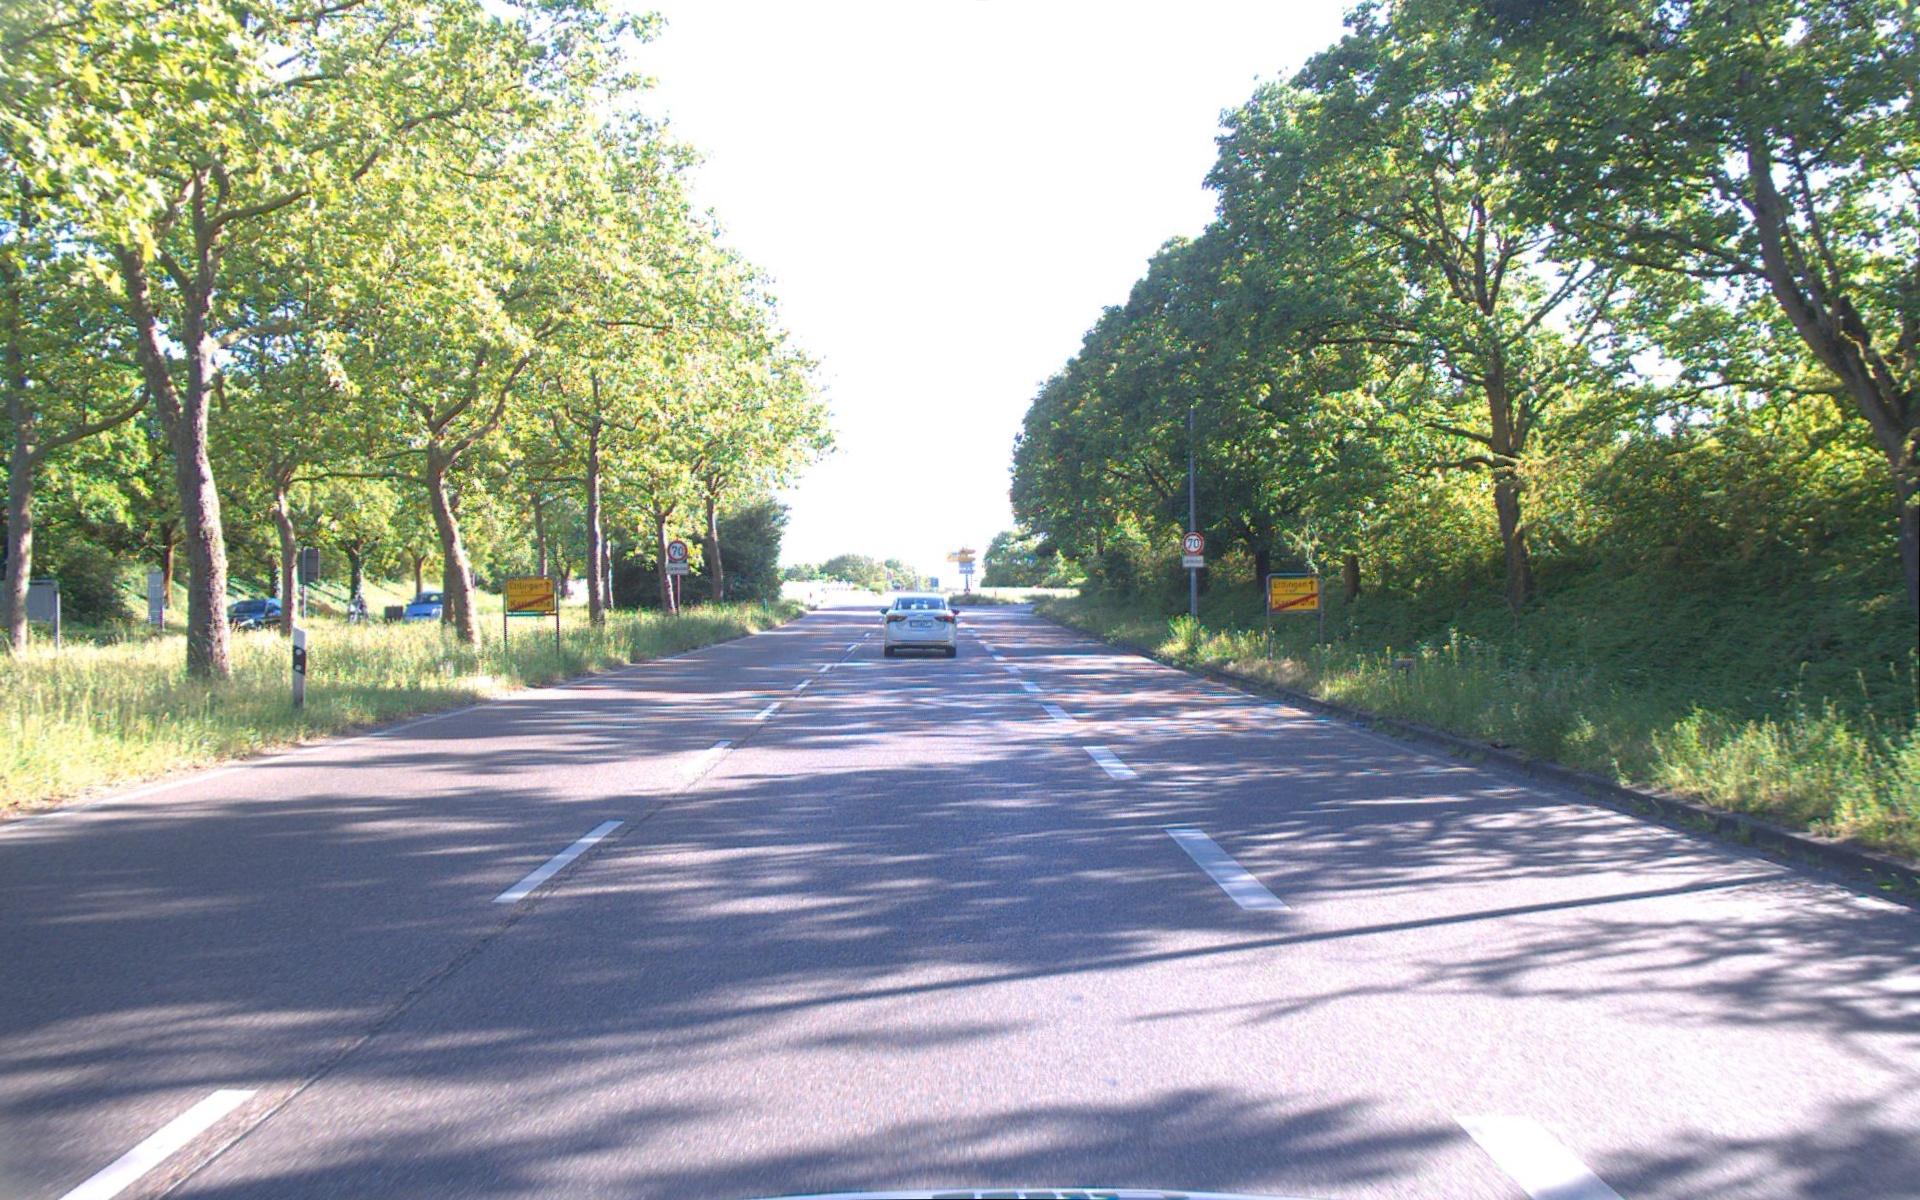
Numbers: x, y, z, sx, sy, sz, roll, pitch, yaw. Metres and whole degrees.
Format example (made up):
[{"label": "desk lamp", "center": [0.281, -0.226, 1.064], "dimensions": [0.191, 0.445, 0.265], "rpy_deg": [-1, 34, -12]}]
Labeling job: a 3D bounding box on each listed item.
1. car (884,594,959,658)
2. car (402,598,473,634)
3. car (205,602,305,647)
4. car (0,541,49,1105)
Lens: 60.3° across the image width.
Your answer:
[{"label": "car", "center": [-0.943, 0.605, 41.024], "dimensions": [1.732, 1.489, 4.365], "rpy_deg": [-1, 0, -1]}, {"label": "car", "center": [-22.649, 0.665, 71.818], "dimensions": [1.732, 1.489, 4.365], "rpy_deg": [-1, 0, -1]}, {"label": "car", "center": [-24.949, 0.841, 58.670], "dimensions": [1.732, 1.489, 4.365], "rpy_deg": [-1, 0, -1]}, {"label": "car", "center": [-3.651, 0.646, 2.653], "dimensions": [1.732, 1.673, 4.921], "rpy_deg": [1, 0, -1]}]
